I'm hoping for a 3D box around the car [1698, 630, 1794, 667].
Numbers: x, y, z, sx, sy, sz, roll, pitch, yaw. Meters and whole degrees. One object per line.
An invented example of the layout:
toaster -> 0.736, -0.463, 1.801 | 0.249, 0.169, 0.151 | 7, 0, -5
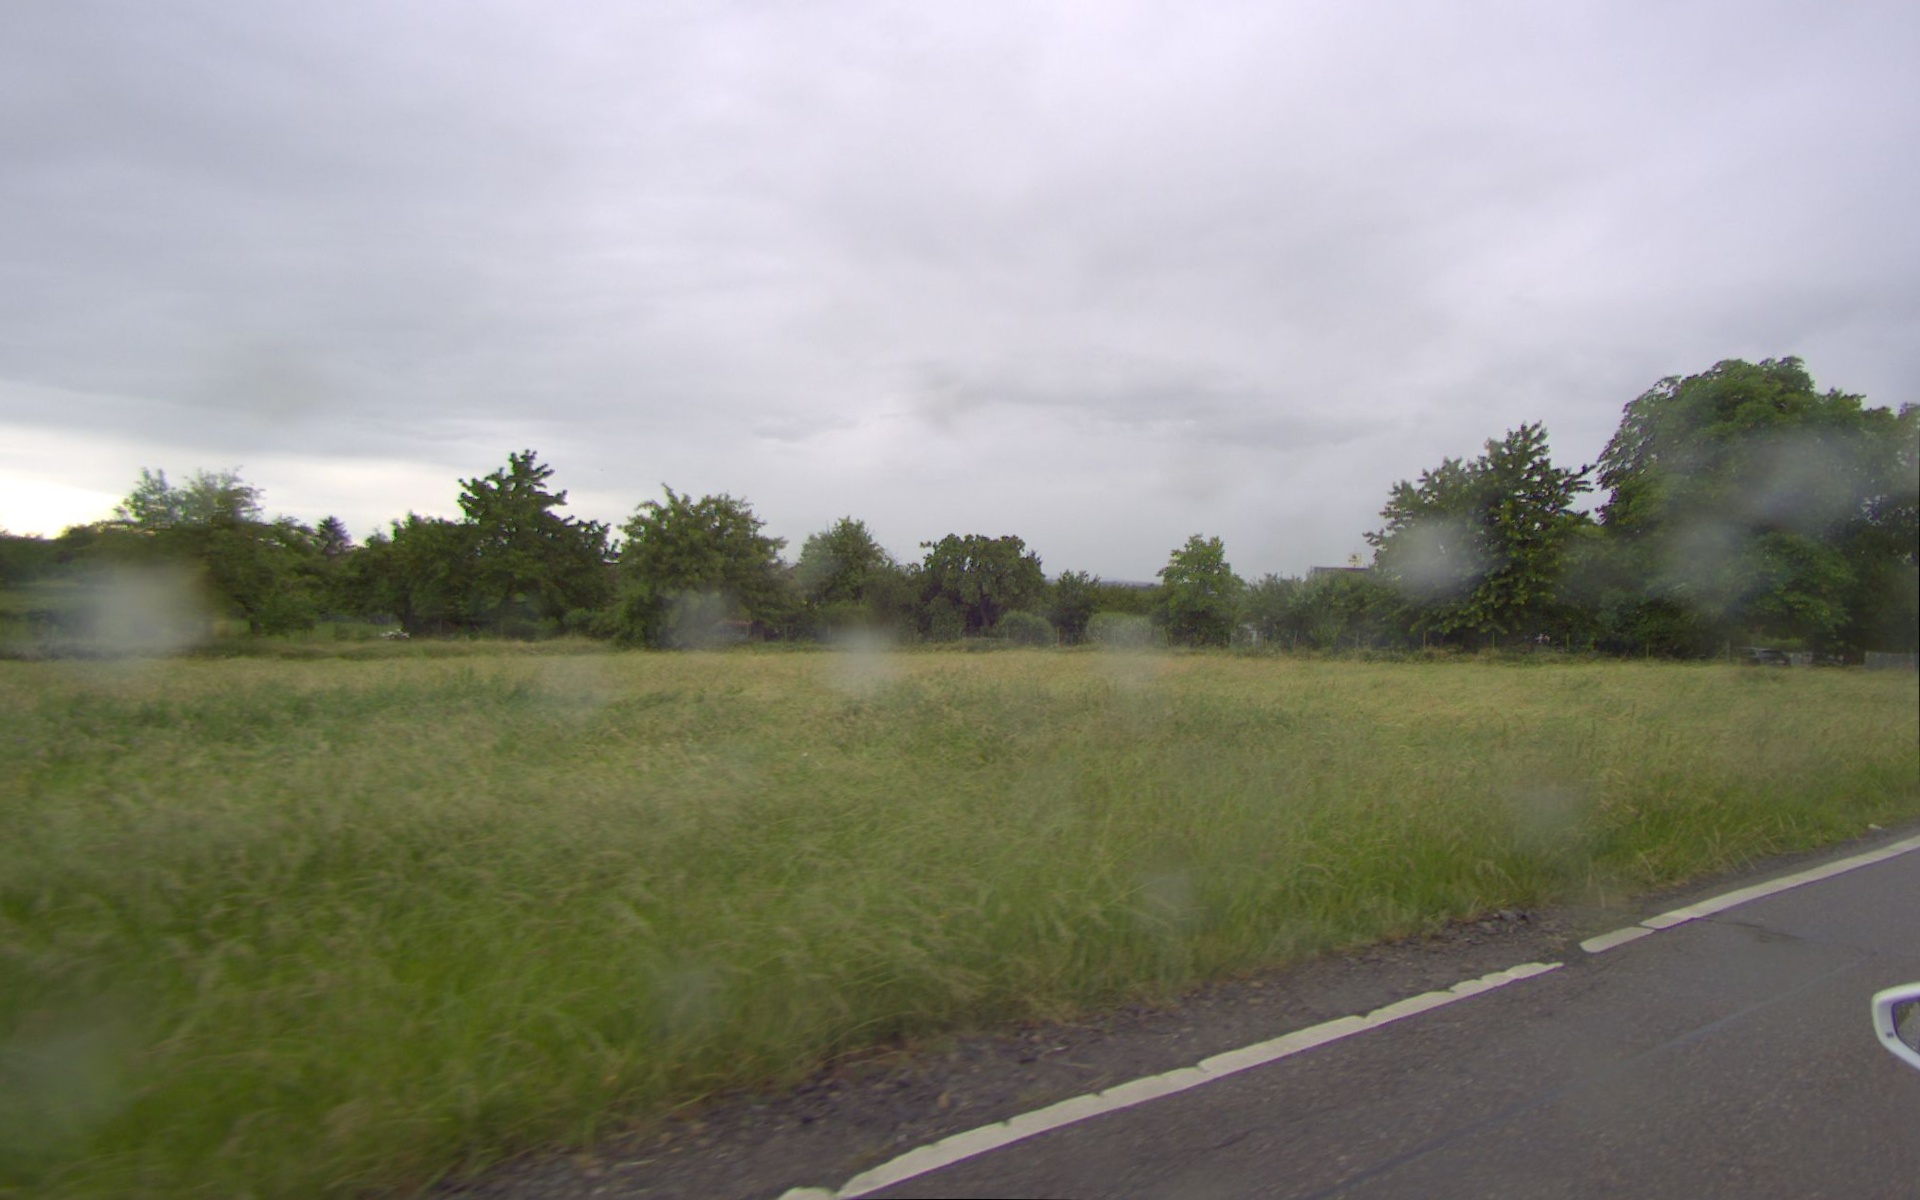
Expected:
car -> 38.073, 2.334, 48.760 | 1.659, 1.572, 3.696 | 3, 0, -1
